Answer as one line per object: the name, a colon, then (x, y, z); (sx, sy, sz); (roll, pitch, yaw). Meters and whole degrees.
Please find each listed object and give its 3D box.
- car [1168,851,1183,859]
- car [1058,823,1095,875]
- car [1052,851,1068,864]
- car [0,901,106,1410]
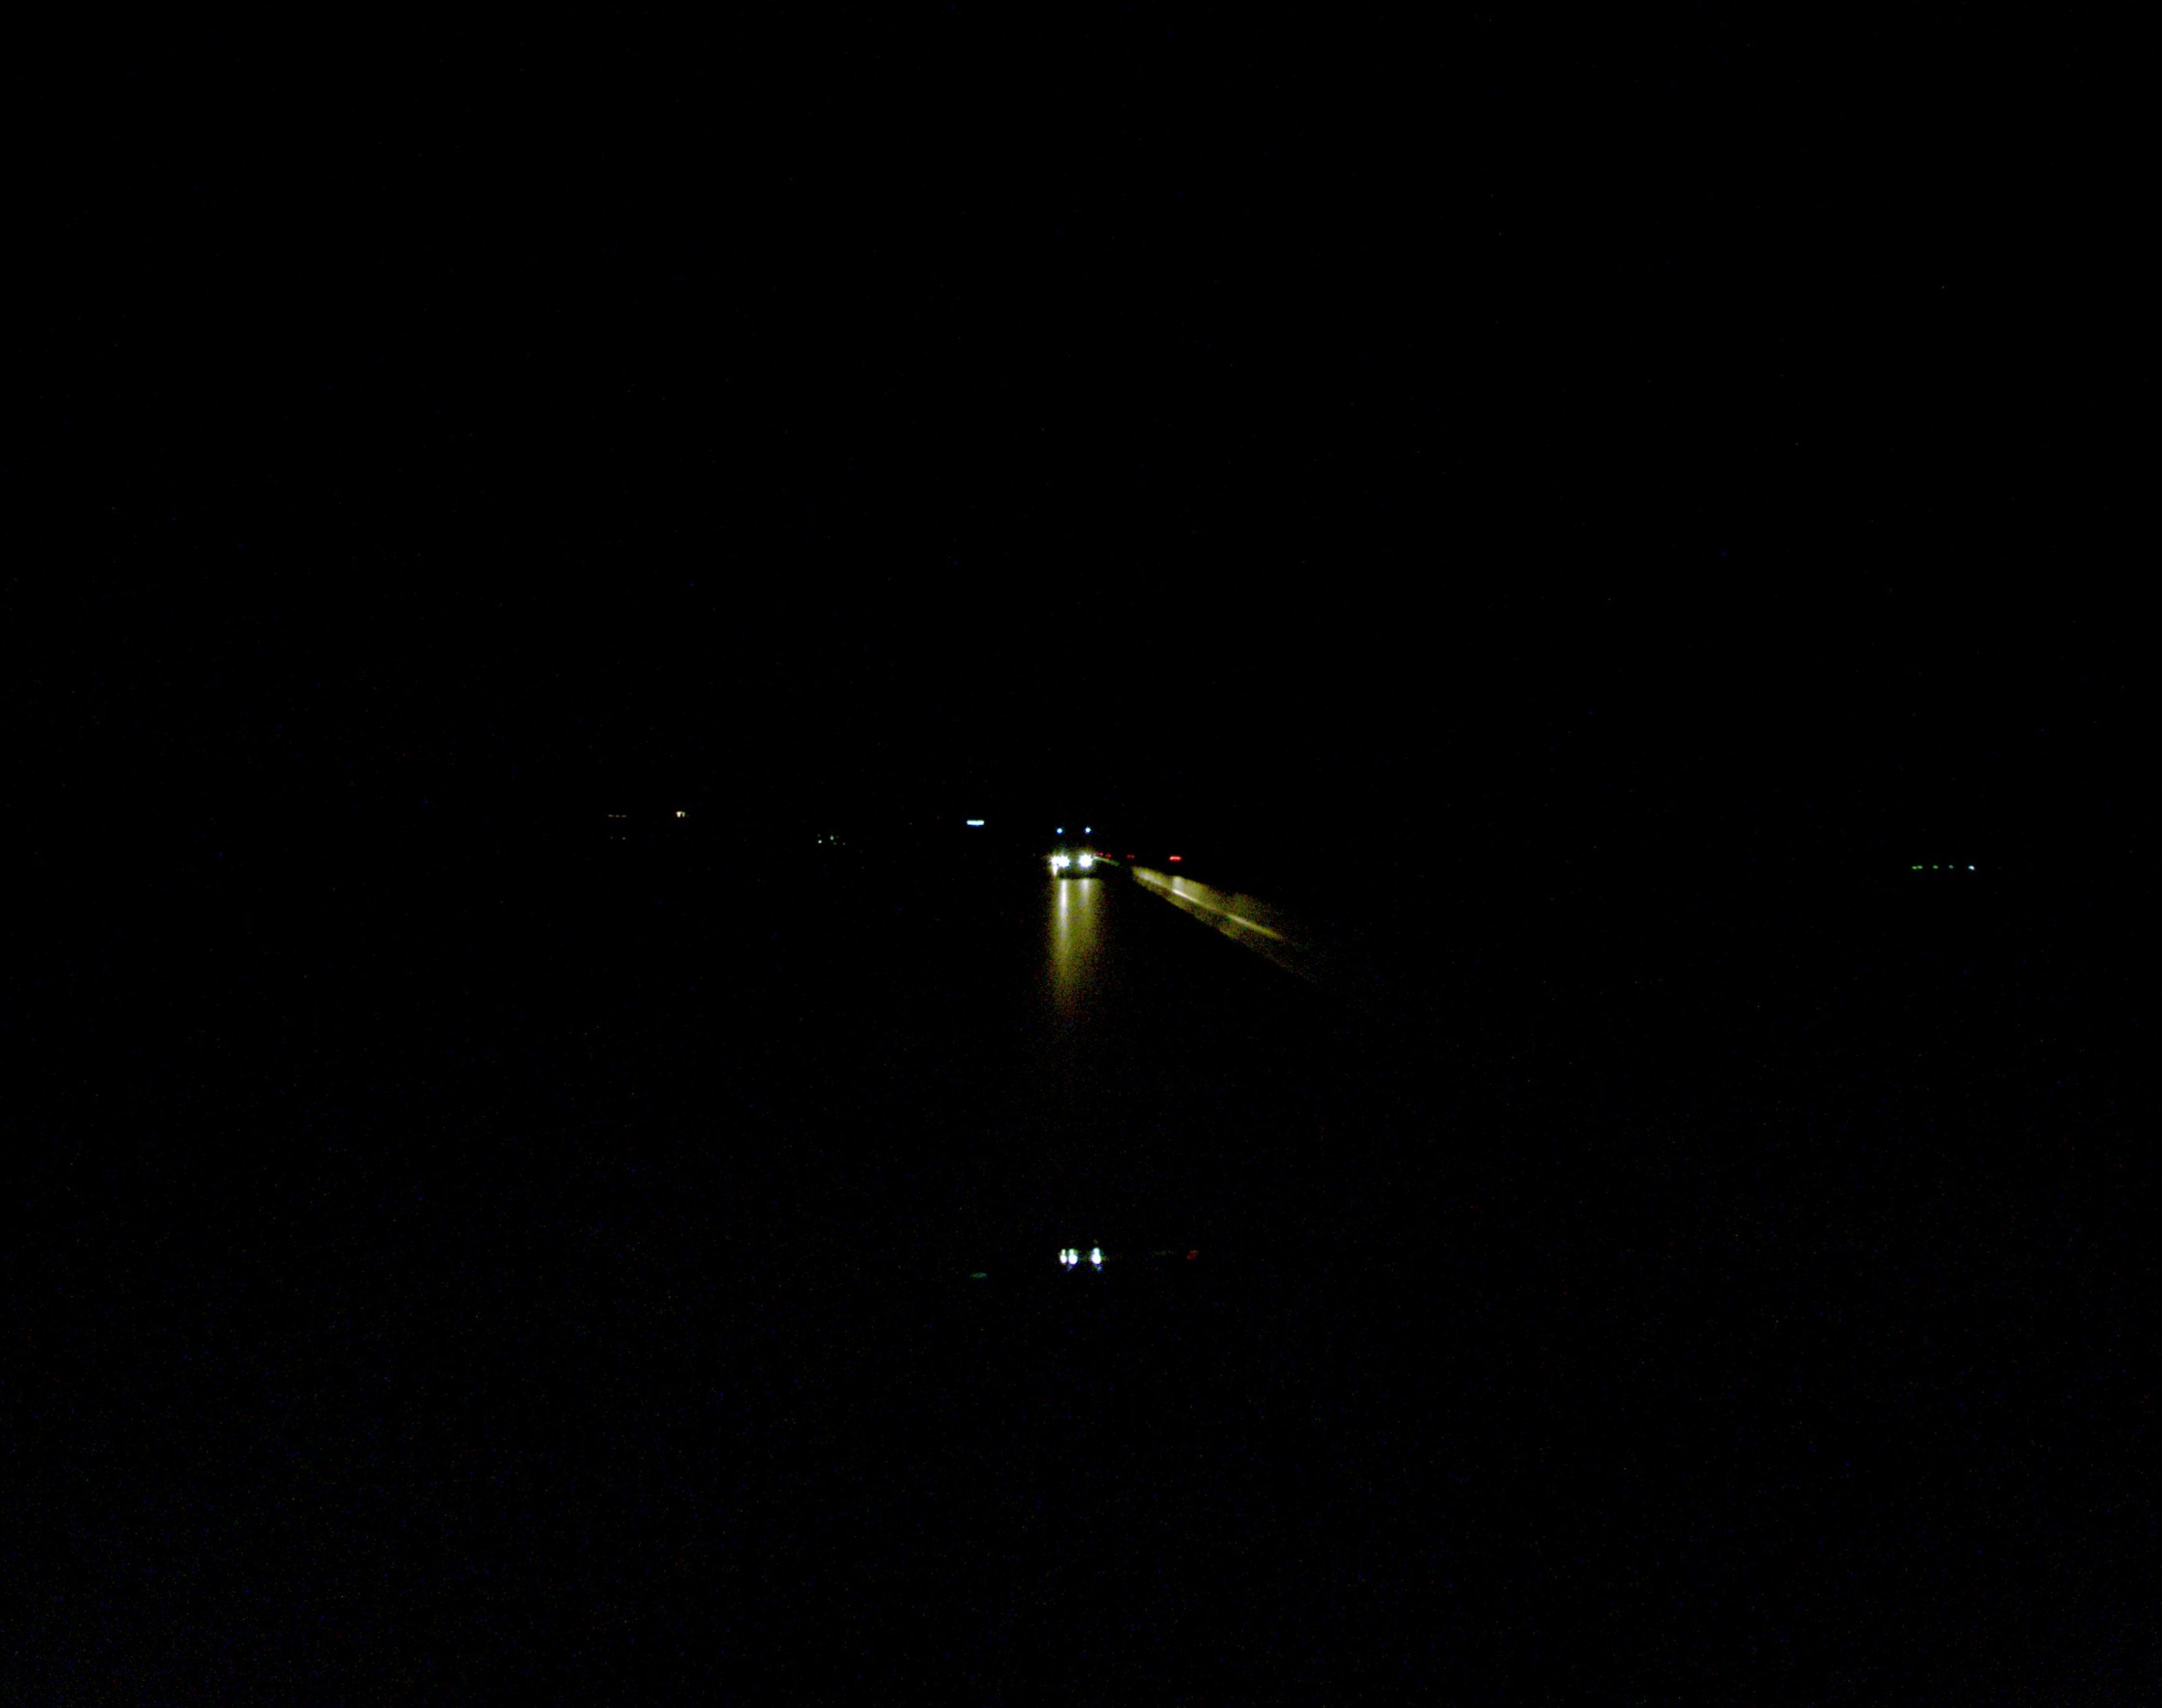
car: (17.181, 0.191, 138.475); (1.999, 1.411, 4.982); (2, 1, -1)
car: (-0.257, -0.351, 51.635); (2.255, 3.205, 6.877); (-1, 1, 1)
car: (-2.770, 0.462, 100.844); (1.998, 1.576, 4.127); (-1, 1, 1)
car: (-4.276, 0.977, 0.396); (1.650, 1.587, 4.509); (-1, 0, 1)
